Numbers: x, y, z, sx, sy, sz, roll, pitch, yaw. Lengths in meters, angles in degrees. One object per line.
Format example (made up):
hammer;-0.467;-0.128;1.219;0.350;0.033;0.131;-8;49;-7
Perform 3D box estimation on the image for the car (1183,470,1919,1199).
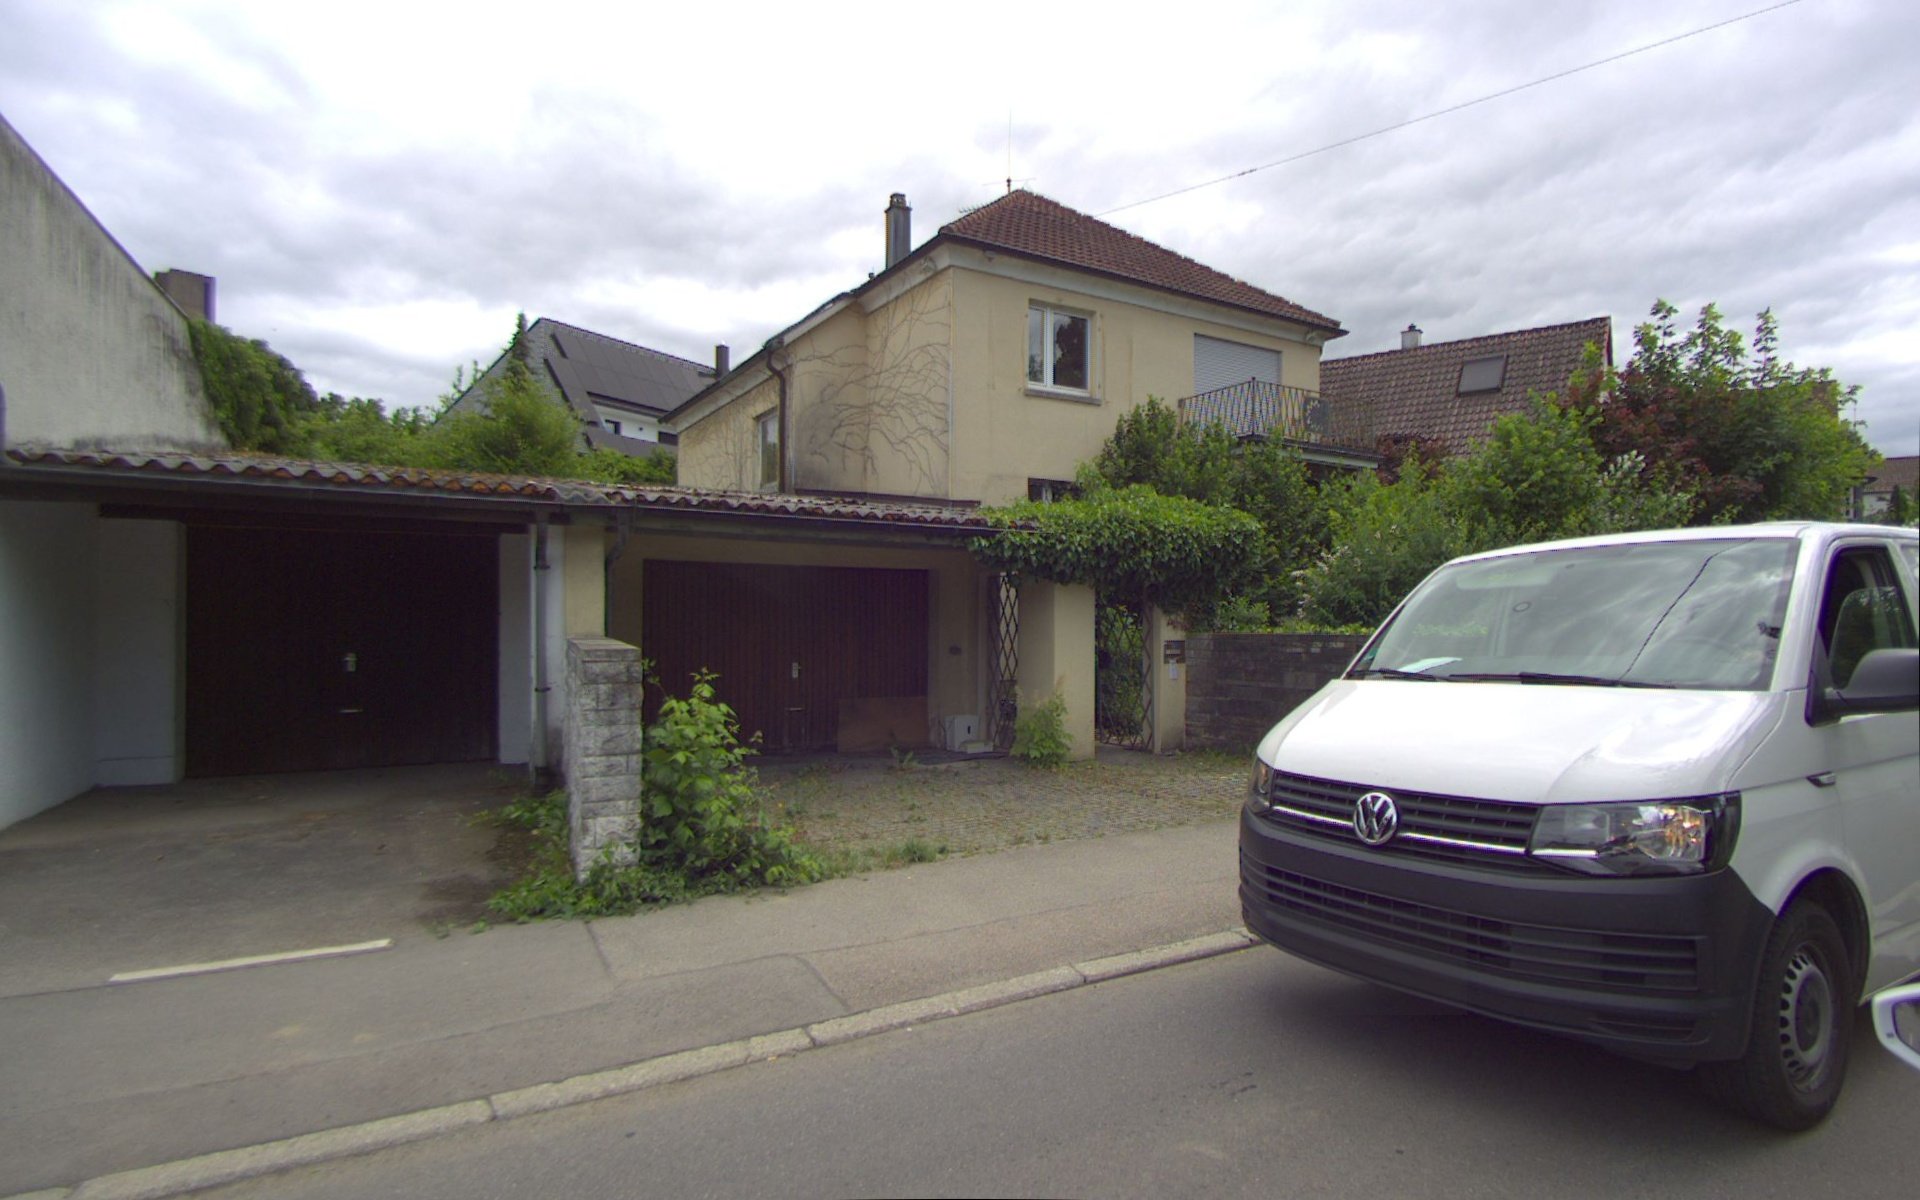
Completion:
car;3.562;0.710;4.652;5.057;1.936;1.858;1;-3;-31
